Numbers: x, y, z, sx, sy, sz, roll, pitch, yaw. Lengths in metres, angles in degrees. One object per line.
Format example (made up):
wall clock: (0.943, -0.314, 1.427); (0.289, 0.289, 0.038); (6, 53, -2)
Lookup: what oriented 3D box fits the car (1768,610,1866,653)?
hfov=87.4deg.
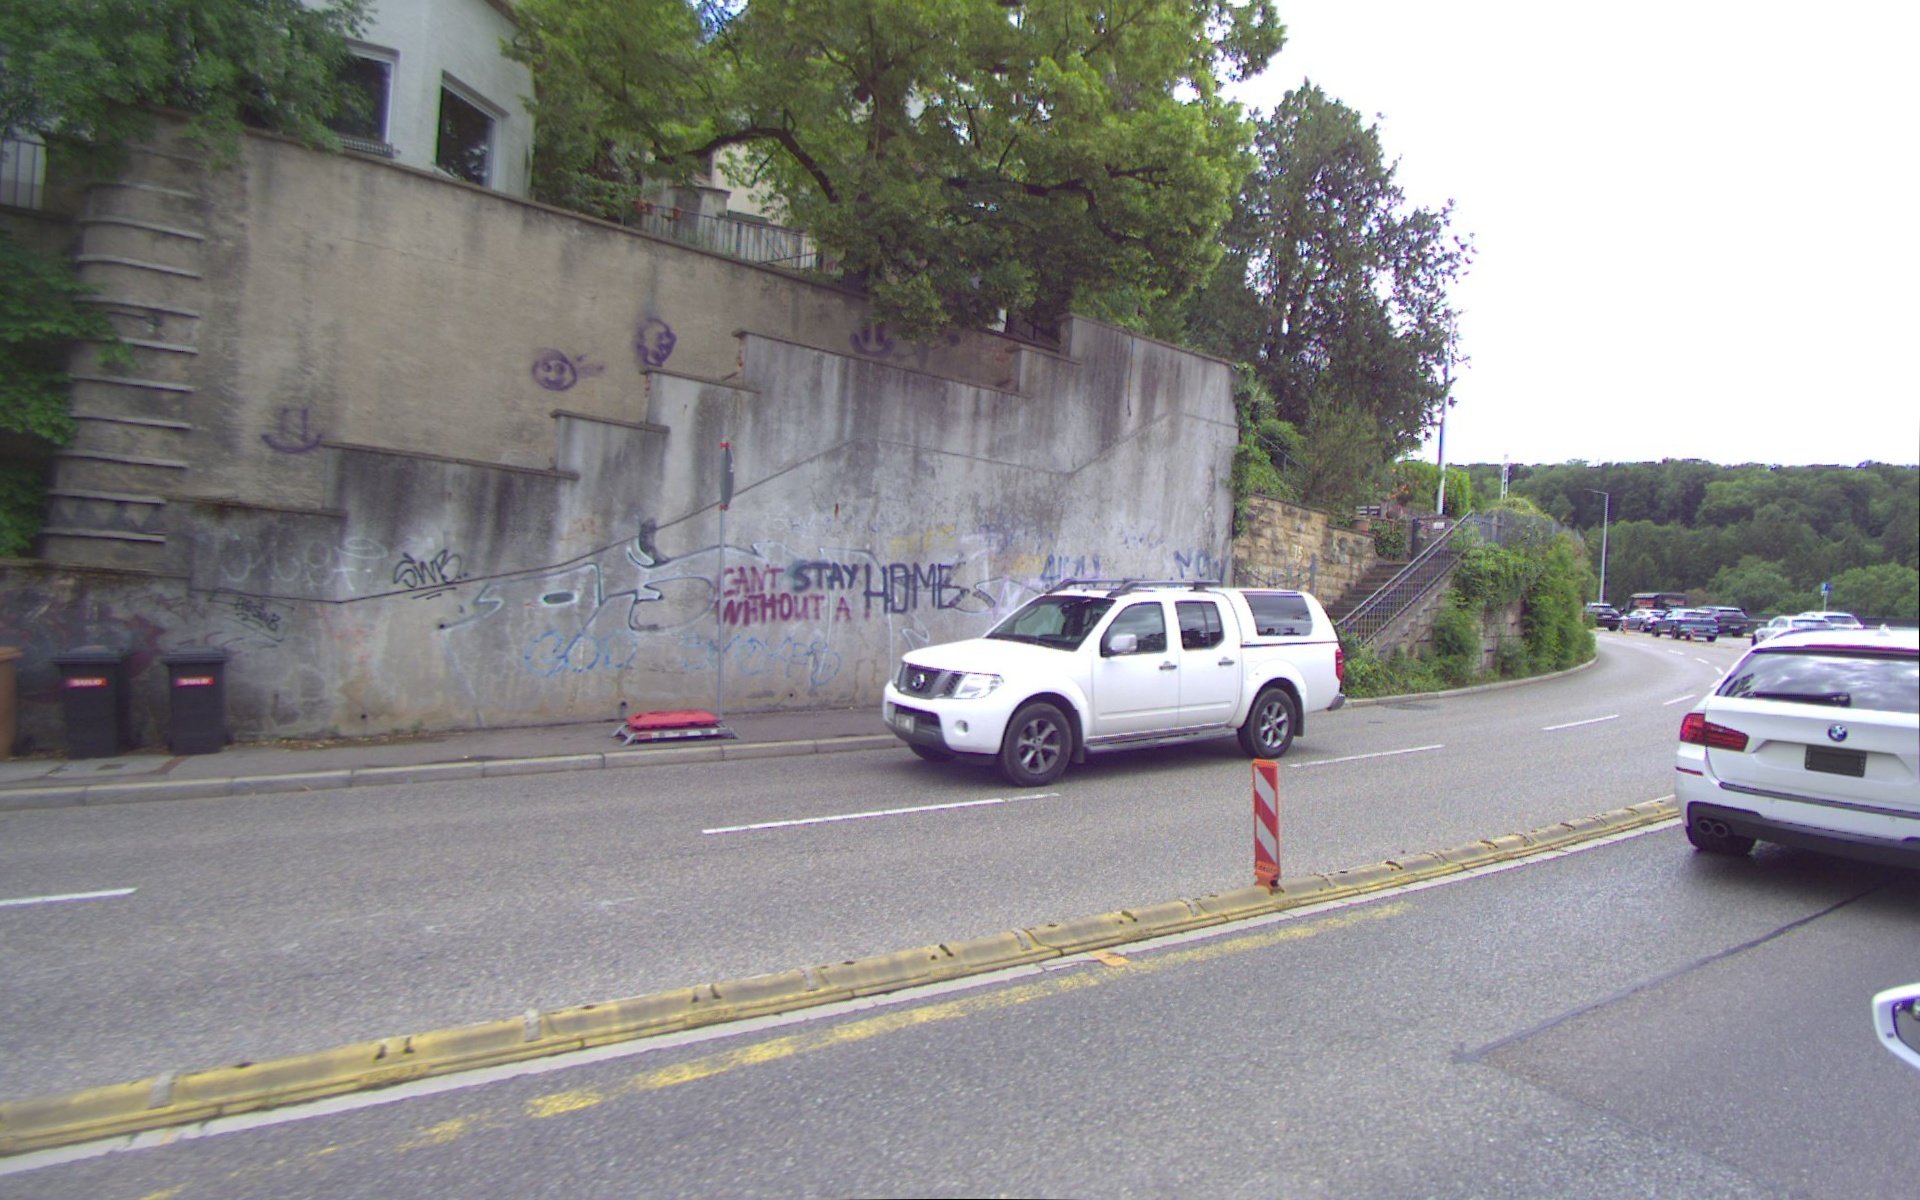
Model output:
car: (37.457, 1.334, 44.028); (1.961, 1.607, 3.999); (2, 1, 20)

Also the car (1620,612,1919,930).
car: (6.434, 0.873, 6.589); (4.829, 1.486, 1.835); (1, 2, -35)

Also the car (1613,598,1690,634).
car: (46.503, 1.021, 67.695); (2.040, 2.223, 4.734); (2, 1, 4)

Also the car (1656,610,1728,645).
car: (37.542, 1.366, 51.636); (1.961, 1.561, 4.009); (2, 1, 21)

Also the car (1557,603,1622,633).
car: (39.888, 1.092, 63.776); (1.785, 1.712, 4.001); (2, 1, 4)

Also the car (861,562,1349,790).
car: (1.714, 0.658, 10.524); (5.256, 1.853, 1.897); (1, -1, -36)

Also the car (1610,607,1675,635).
car: (42.260, 1.269, 62.298); (1.666, 1.546, 3.536); (2, 1, 2)

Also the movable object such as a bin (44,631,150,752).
movable object such as a bin: (-7.390, 0.765, 8.625); (0.560, 0.962, 0.540); (1, 2, -26)

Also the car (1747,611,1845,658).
car: (32.818, 1.308, 39.558); (1.876, 1.595, 3.997); (2, 1, 24)

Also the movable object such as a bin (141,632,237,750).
movable object such as a bin: (-6.763, 0.781, 8.831); (0.560, 0.962, 0.540); (1, 2, -26)

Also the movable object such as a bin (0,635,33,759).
movable object such as a bin: (-8.094, 0.784, 8.234); (0.573, 0.962, 0.605); (1, 1, -26)
